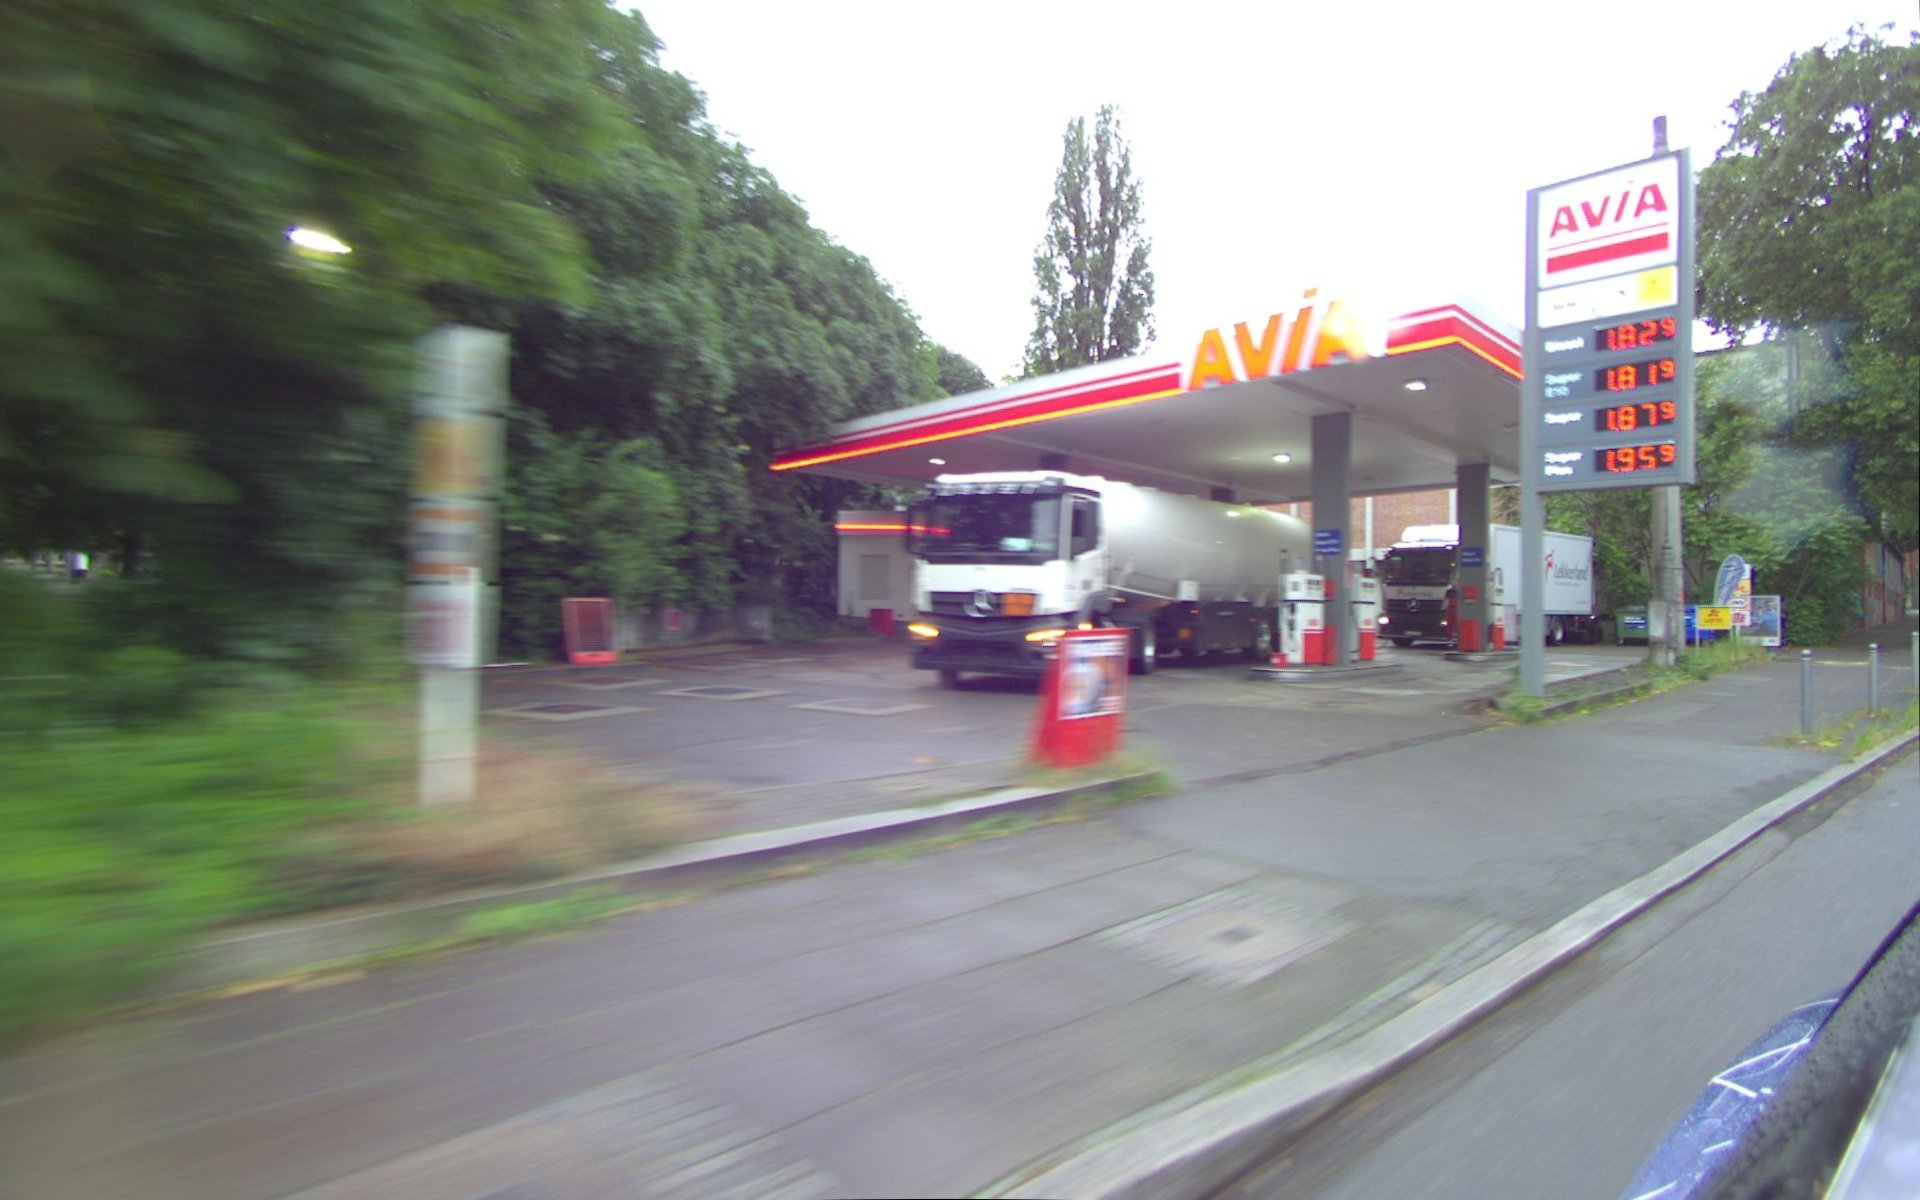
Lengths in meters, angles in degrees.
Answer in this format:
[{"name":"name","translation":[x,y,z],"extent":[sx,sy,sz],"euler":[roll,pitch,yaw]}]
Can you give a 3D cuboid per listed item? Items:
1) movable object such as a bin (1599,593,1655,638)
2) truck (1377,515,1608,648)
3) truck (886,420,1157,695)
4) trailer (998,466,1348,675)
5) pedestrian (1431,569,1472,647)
[{"name":"movable object such as a bin","translation":[22.223,0.509,33.714],"extent":[1.054,1.418,1.285],"euler":[1,1,-41]},{"name":"truck","translation":[16.936,-0.572,31.734],"extent":[10.070,3.614,2.660],"euler":[-1,1,-39]},{"name":"truck","translation":[1.301,-0.611,16.055],"extent":[2.800,3.442,6.089],"euler":[1,1,18]},{"name":"trailer","translation":[4.932,-0.564,21.243],"extent":[2.802,3.438,9.689],"euler":[1,1,41]},{"name":"pedestrian","translation":[13.297,0.207,27.380],"extent":[0.640,2.066,0.809],"euler":[0,0,-42]}]
